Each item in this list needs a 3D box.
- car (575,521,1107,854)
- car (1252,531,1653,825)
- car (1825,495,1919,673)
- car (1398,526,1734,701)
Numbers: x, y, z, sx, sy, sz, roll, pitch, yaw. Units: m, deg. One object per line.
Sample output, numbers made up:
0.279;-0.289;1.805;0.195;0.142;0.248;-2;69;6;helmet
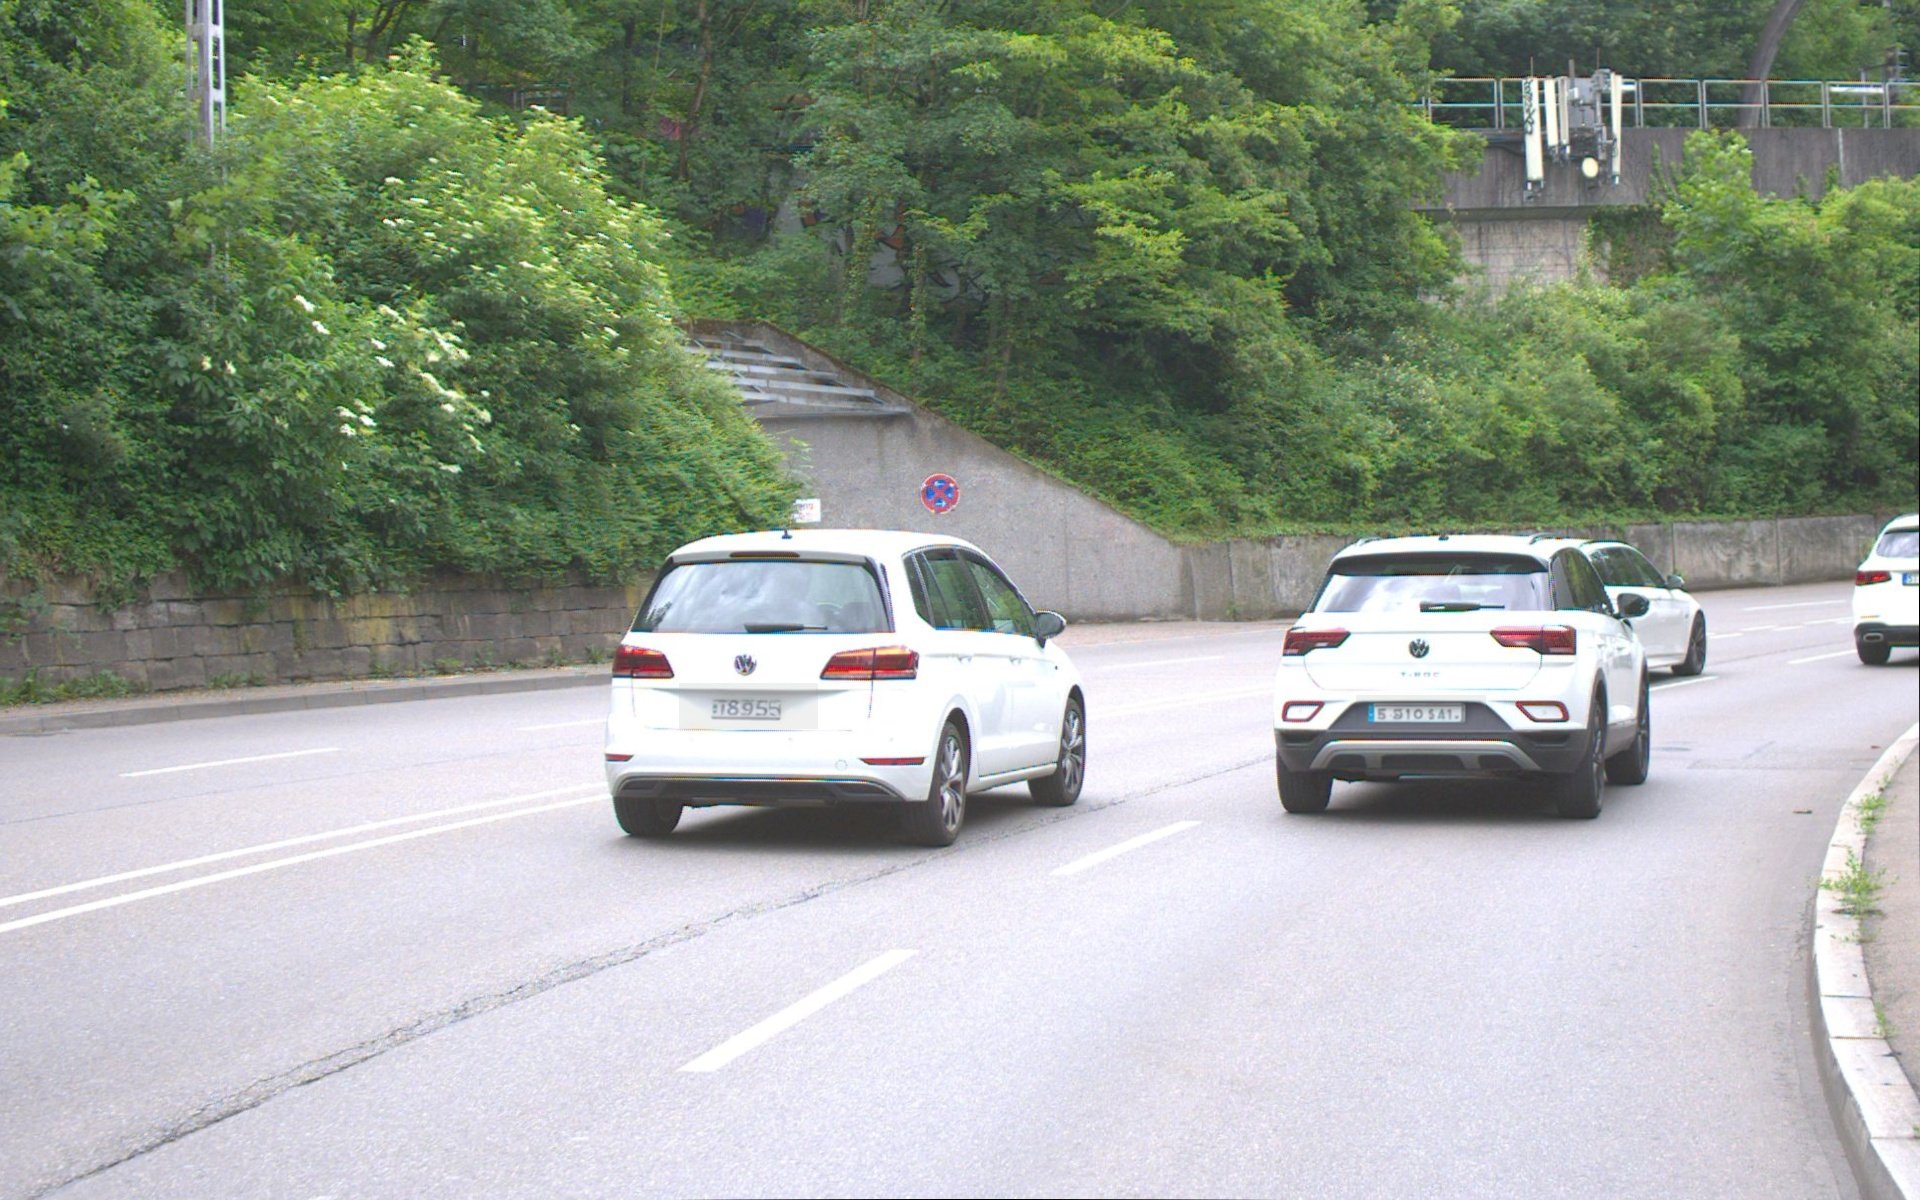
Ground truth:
-0.497;0.425;18.518;1.721;1.549;4.272;1;0;14;car
2.981;0.411;20.126;1.815;1.534;4.005;0;0;15;car
11.161;-0.109;38.075;1.997;1.837;4.143;1;-1;30;car
6.202;0.075;34.755;1.997;1.552;4.674;3;3;27;car
